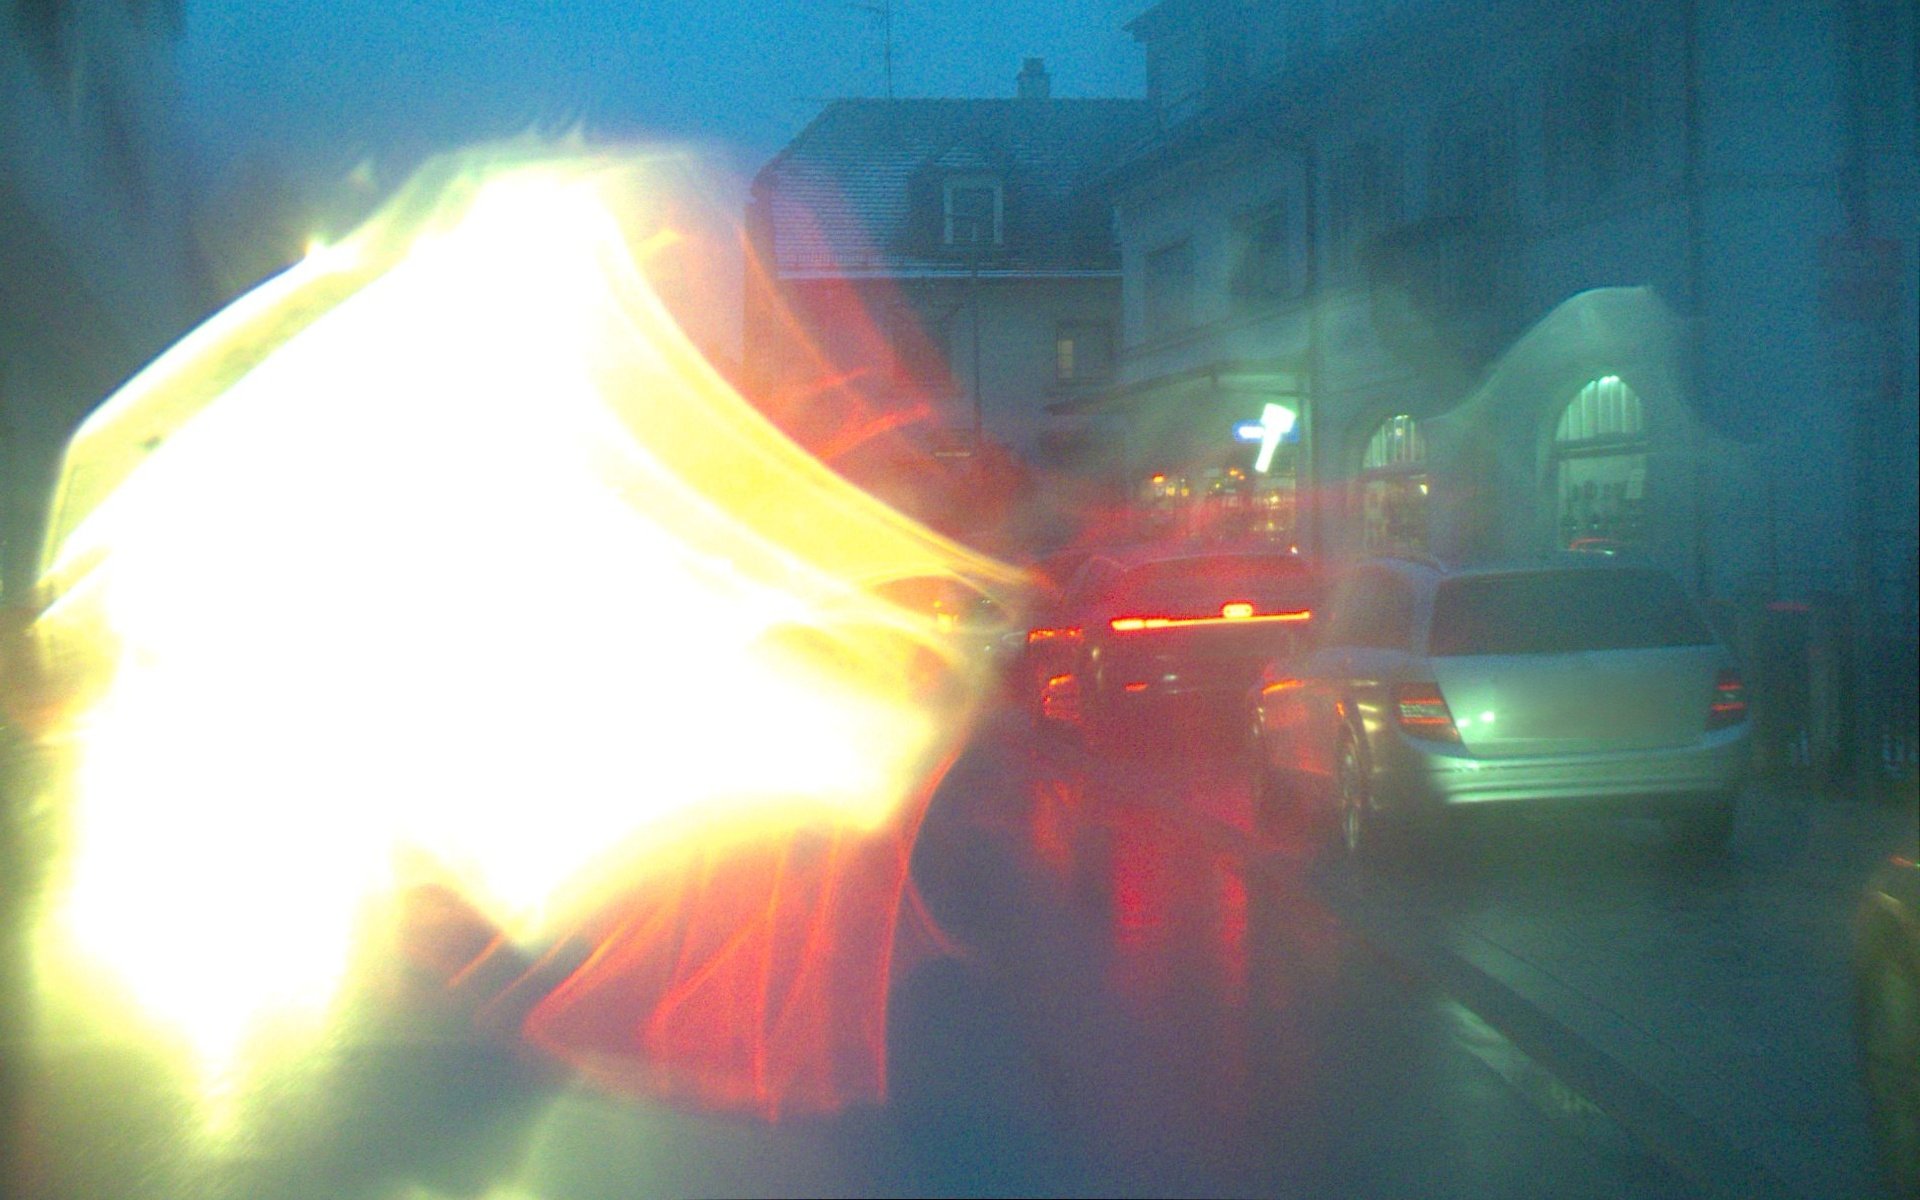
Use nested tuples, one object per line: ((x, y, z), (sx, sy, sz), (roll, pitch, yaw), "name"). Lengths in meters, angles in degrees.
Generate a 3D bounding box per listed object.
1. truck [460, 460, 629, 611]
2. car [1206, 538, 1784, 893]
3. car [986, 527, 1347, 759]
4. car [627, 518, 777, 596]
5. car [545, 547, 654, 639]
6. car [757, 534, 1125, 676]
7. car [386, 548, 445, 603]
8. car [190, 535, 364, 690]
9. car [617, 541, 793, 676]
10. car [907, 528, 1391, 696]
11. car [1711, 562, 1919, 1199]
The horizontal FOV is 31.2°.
((-9.229, -1.407, 75.657), (3.014, 3.118, 8.003), (0, 1, -12), "truck")
((2.462, 0.460, 17.007), (1.794, 1.455, 4.531), (-2, 1, -4), "car")
((1.446, 0.248, 25.972), (1.882, 1.541, 4.672), (-2, 1, -7), "car")
((-7.162, -1.201, 95.625), (4.097, 2.155, 1.913), (0, 1, -2), "car")
((-6.112, -0.133, 58.123), (1.637, 1.476, 3.272), (0, 1, -9), "car")
((-0.276, 0.034, 46.319), (4.602, 1.769, 1.946), (-1, 1, -13), "car")
((-15.342, -0.705, 96.944), (1.637, 1.530, 3.407), (0, 1, -9), "car")
((-7.721, 0.106, 39.128), (1.794, 1.637, 3.813), (1, 1, -9), "car")
((-2.982, 0.074, 39.637), (1.637, 1.476, 3.380), (1, 1, -11), "car")
((1.847, 0.091, 34.277), (4.465, 1.468, 1.898), (-2, 1, -10), "car")
((2.915, 0.624, 6.301), (1.823, 1.418, 4.609), (-3, 1, -2), "car")
